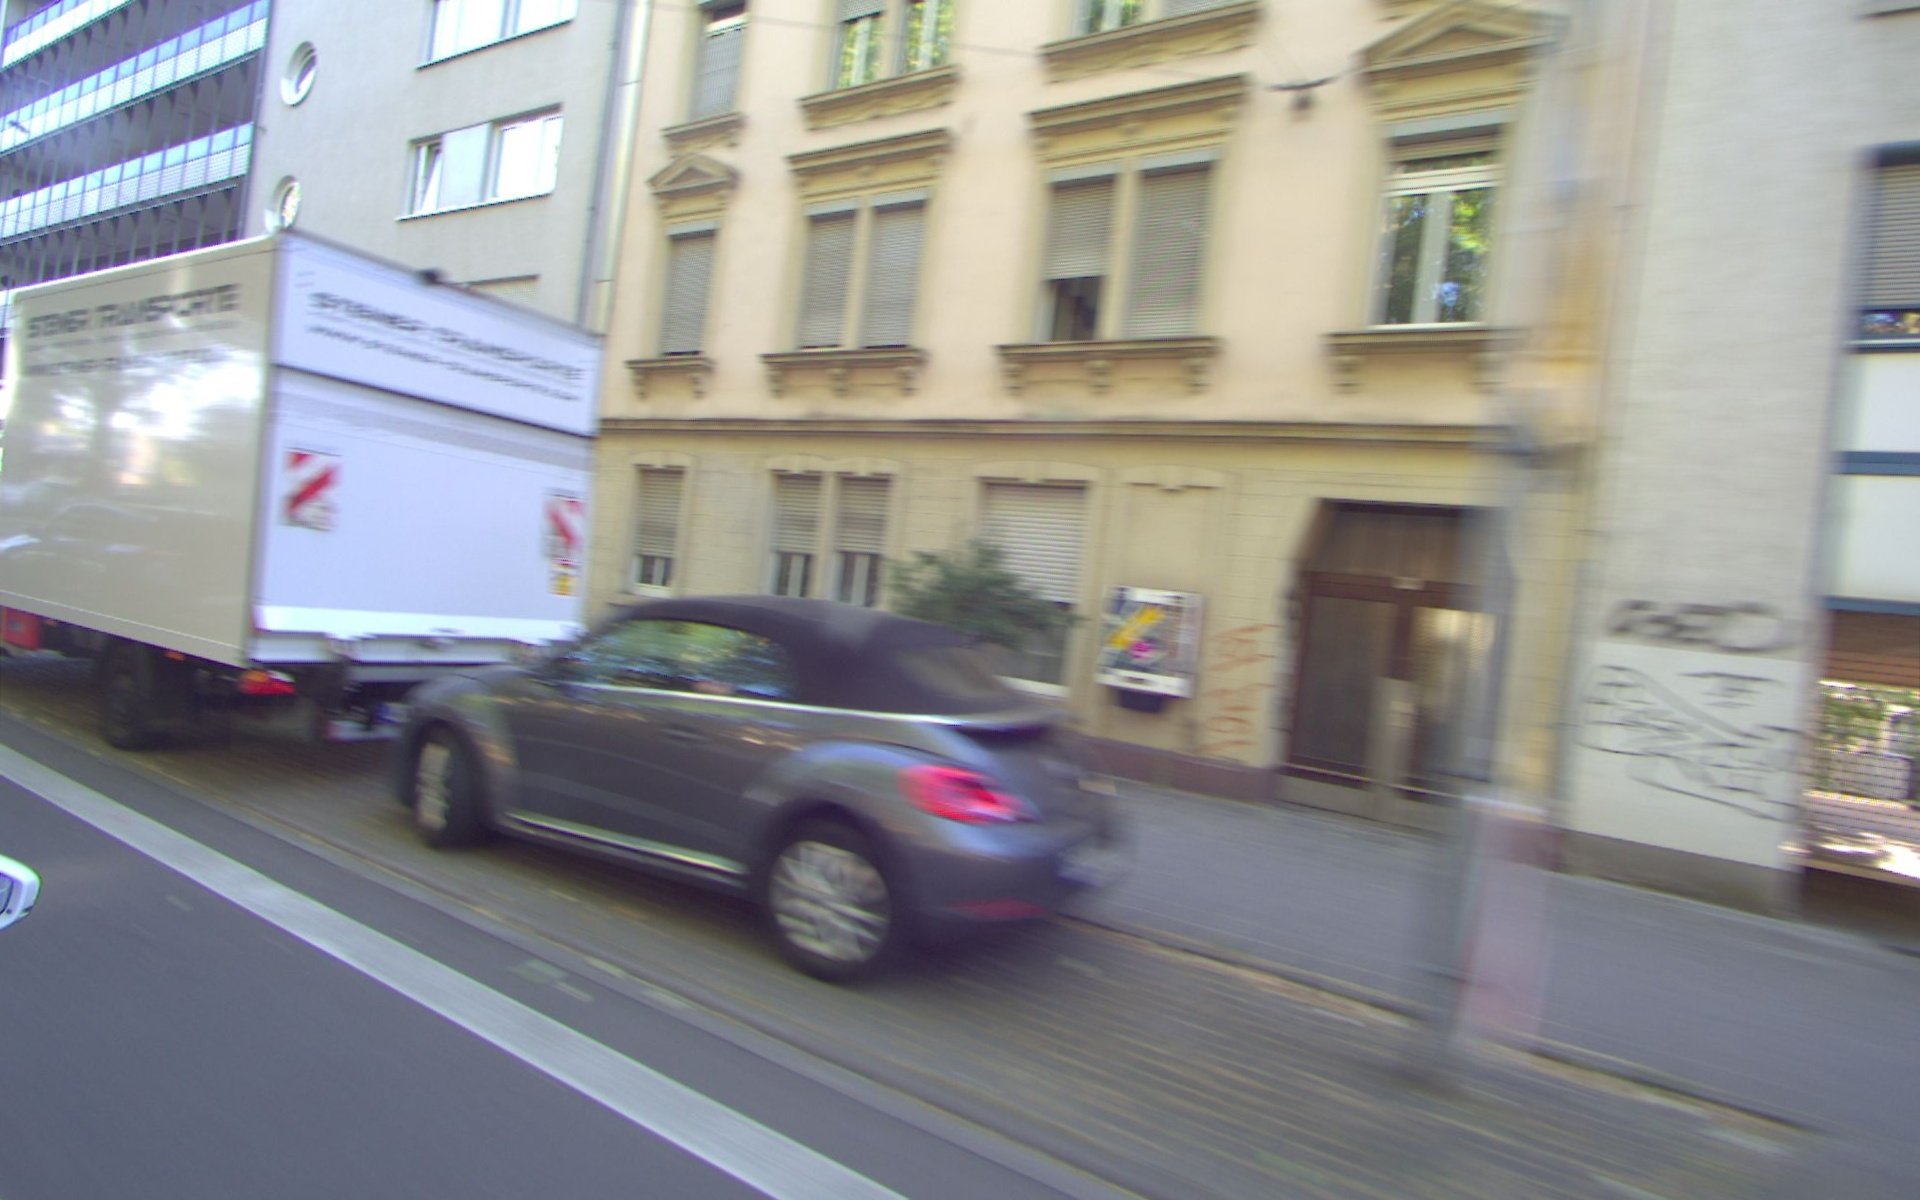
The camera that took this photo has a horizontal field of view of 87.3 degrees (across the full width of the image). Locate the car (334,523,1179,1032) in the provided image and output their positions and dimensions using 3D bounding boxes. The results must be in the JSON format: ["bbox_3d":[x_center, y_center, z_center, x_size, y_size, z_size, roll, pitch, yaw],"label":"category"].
[{"bbox_3d":[-1.150,0.604,5.307,4.079,1.578,1.733,6,1,27],"label":"car"}]

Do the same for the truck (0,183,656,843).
[{"bbox_3d":[-5.991,-0.702,8.125,7.077,3.381,2.539,7,2,32],"label":"truck"}]
